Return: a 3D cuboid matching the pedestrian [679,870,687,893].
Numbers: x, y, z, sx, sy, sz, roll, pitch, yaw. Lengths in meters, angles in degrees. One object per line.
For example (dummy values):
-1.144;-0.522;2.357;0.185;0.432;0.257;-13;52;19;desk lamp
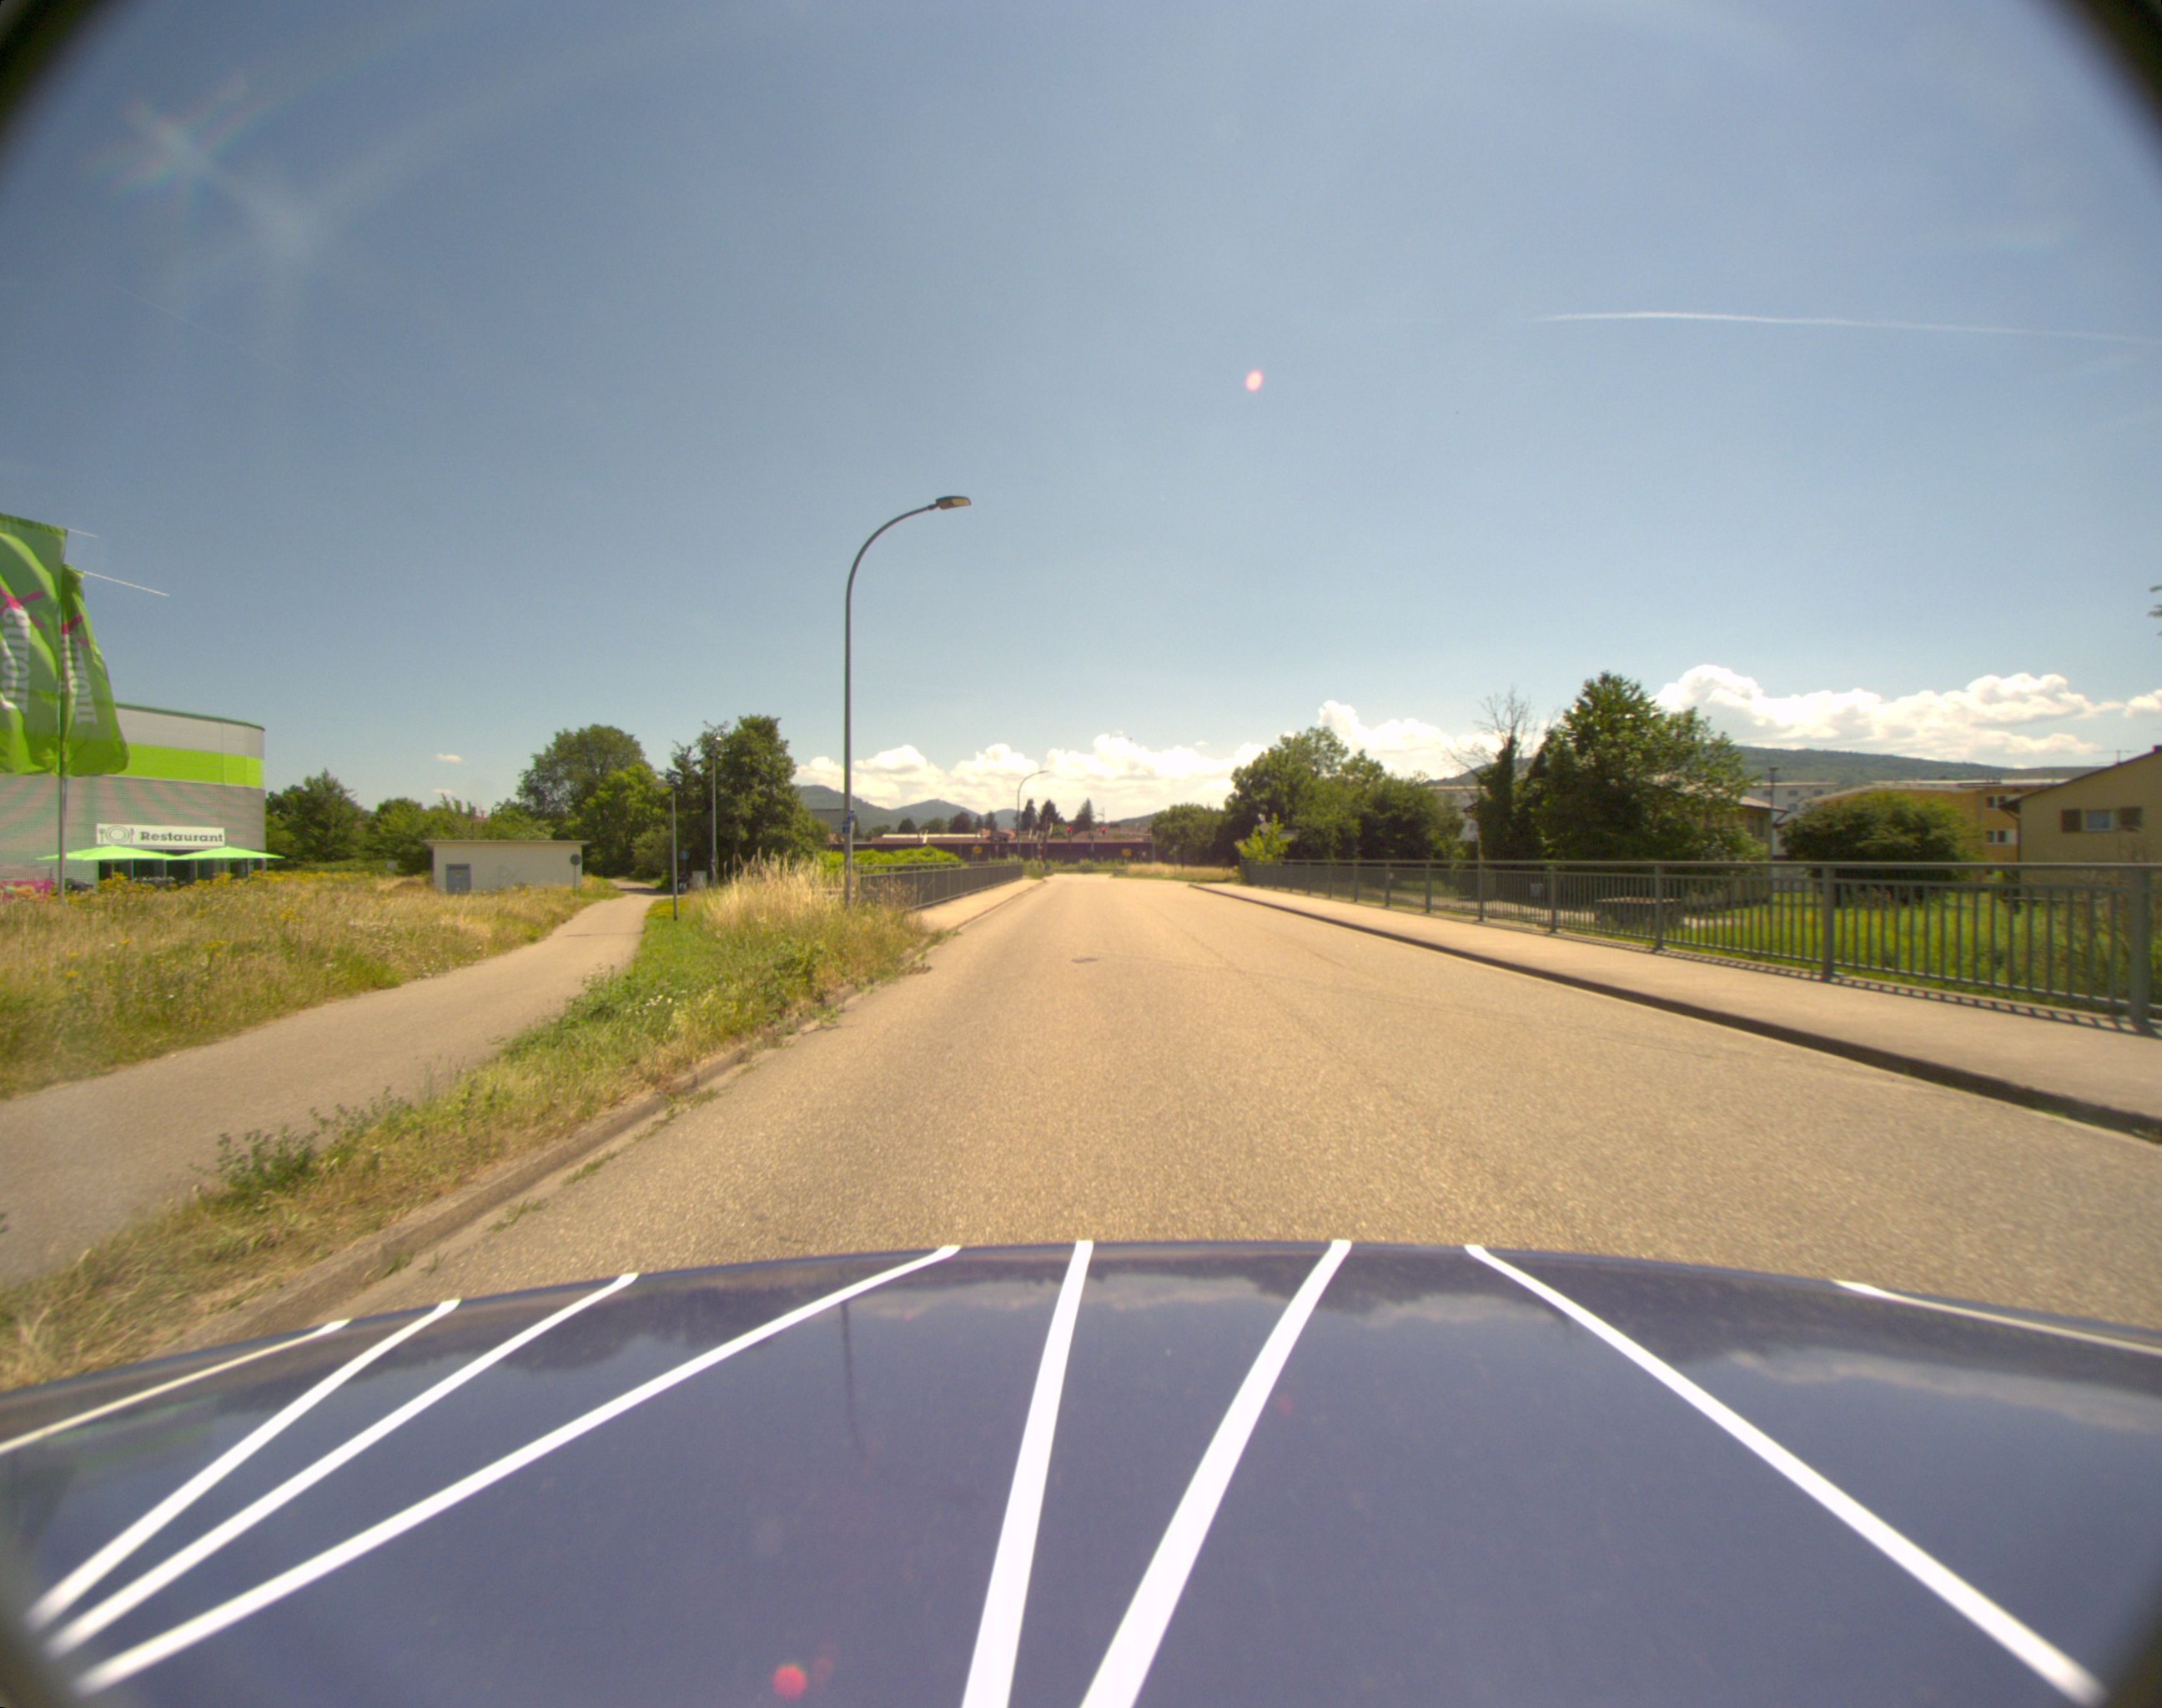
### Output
-26.800;1.835;51.196;0.439;1.529;0.413;-2;-1;-25;pedestrian
